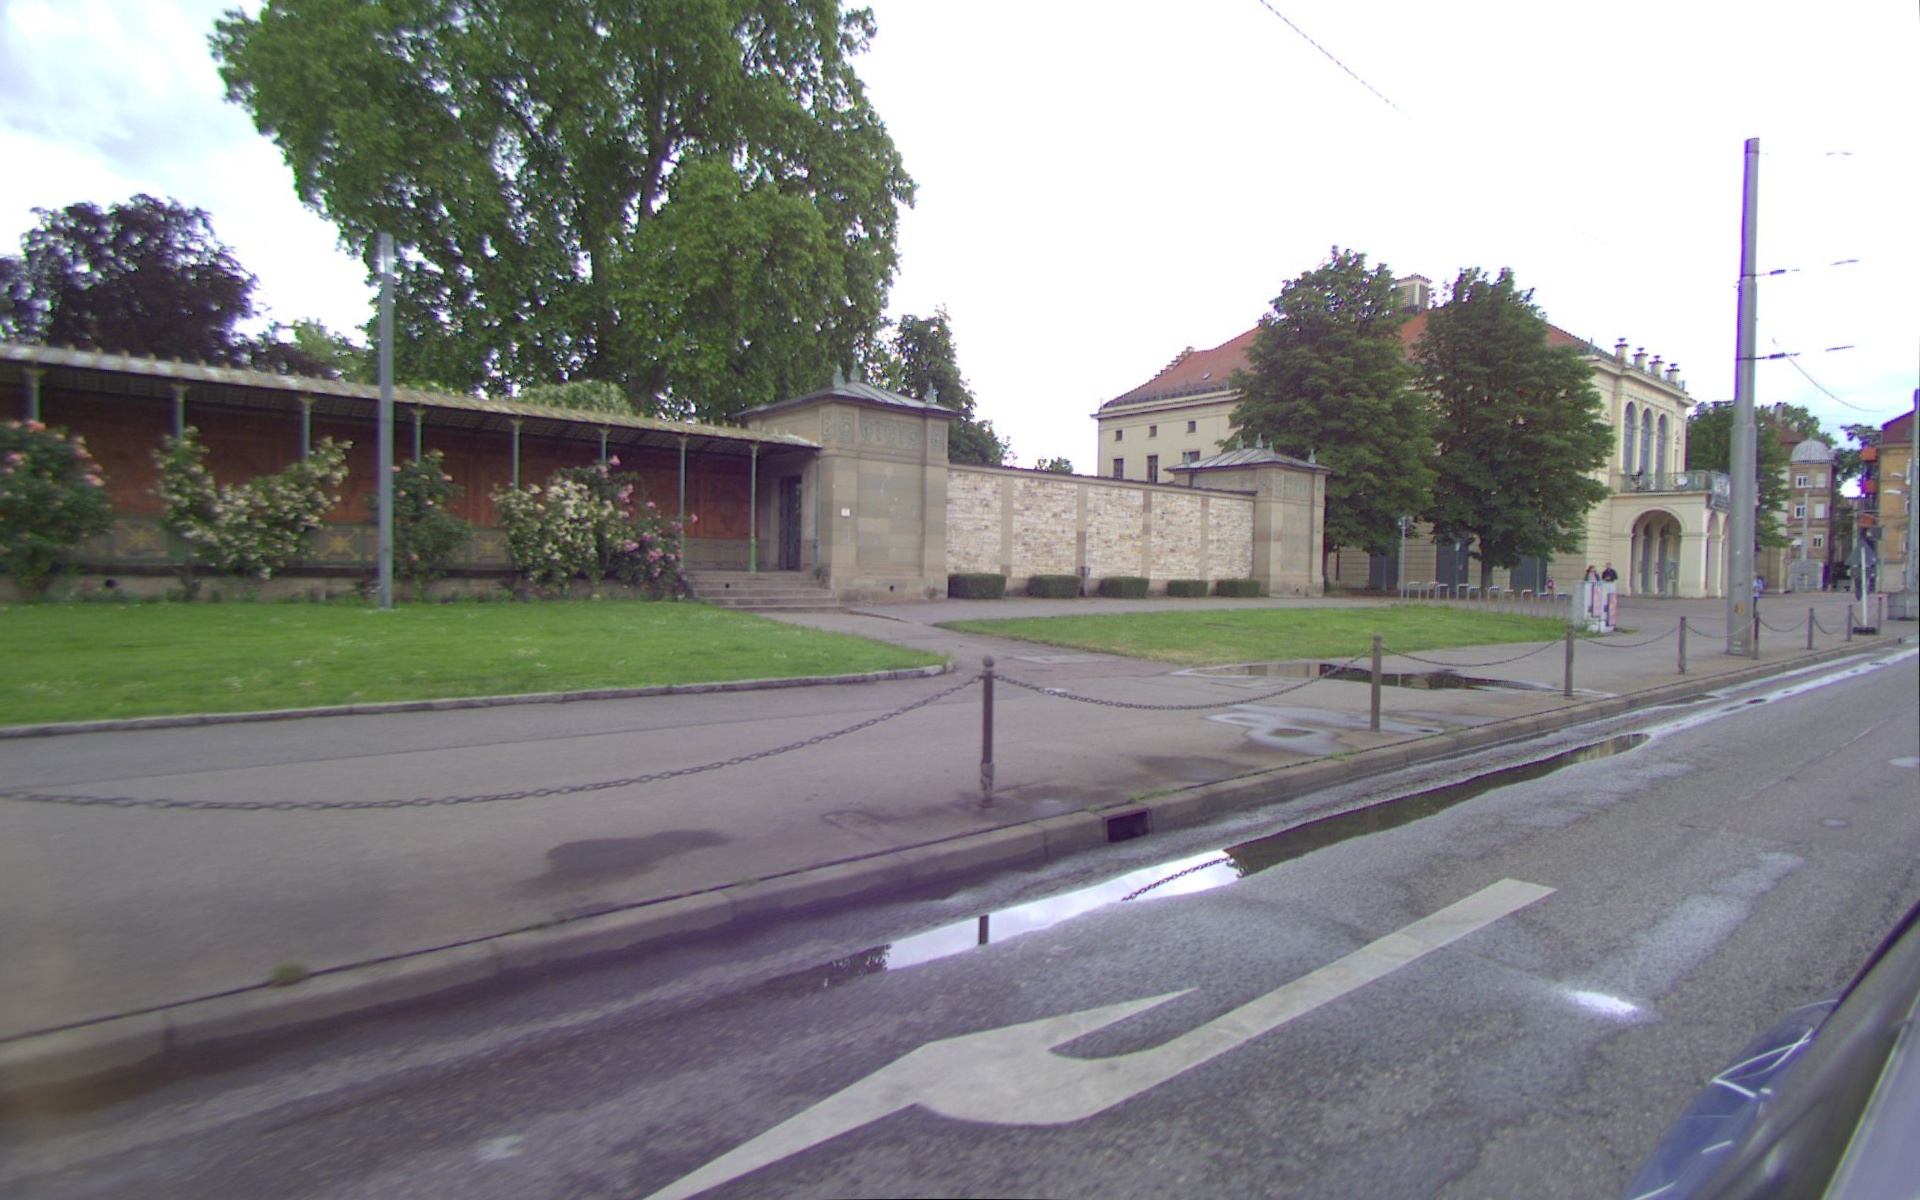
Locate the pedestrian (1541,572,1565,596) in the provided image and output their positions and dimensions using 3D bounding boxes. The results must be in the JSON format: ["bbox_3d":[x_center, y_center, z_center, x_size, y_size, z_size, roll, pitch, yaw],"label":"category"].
[{"bbox_3d":[25.812,-0.711,44.081,0.748,1.013,0.594,1,2,16],"label":"pedestrian"}]

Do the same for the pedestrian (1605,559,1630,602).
[{"bbox_3d":[27.065,-0.813,41.659,0.776,1.719,0.597,-1,3,-40],"label":"pedestrian"}]

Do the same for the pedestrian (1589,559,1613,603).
[{"bbox_3d":[26.683,-0.796,42.155,0.794,1.814,0.596,-1,3,-40],"label":"pedestrian"}]

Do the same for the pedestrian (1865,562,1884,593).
[{"bbox_3d":[53.637,-1.338,59.348,0.920,1.789,0.672,-1,3,-40],"label":"pedestrian"}]

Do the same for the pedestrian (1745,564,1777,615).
[{"bbox_3d":[28.243,-0.383,35.662,0.920,1.789,0.672,-1,3,-40],"label":"pedestrian"}]

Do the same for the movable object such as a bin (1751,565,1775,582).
[{"bbox_3d":[65.732,-2.155,82.851,1.355,1.385,1.297,-1,3,-40],"label":"movable object such as a bin"}]
